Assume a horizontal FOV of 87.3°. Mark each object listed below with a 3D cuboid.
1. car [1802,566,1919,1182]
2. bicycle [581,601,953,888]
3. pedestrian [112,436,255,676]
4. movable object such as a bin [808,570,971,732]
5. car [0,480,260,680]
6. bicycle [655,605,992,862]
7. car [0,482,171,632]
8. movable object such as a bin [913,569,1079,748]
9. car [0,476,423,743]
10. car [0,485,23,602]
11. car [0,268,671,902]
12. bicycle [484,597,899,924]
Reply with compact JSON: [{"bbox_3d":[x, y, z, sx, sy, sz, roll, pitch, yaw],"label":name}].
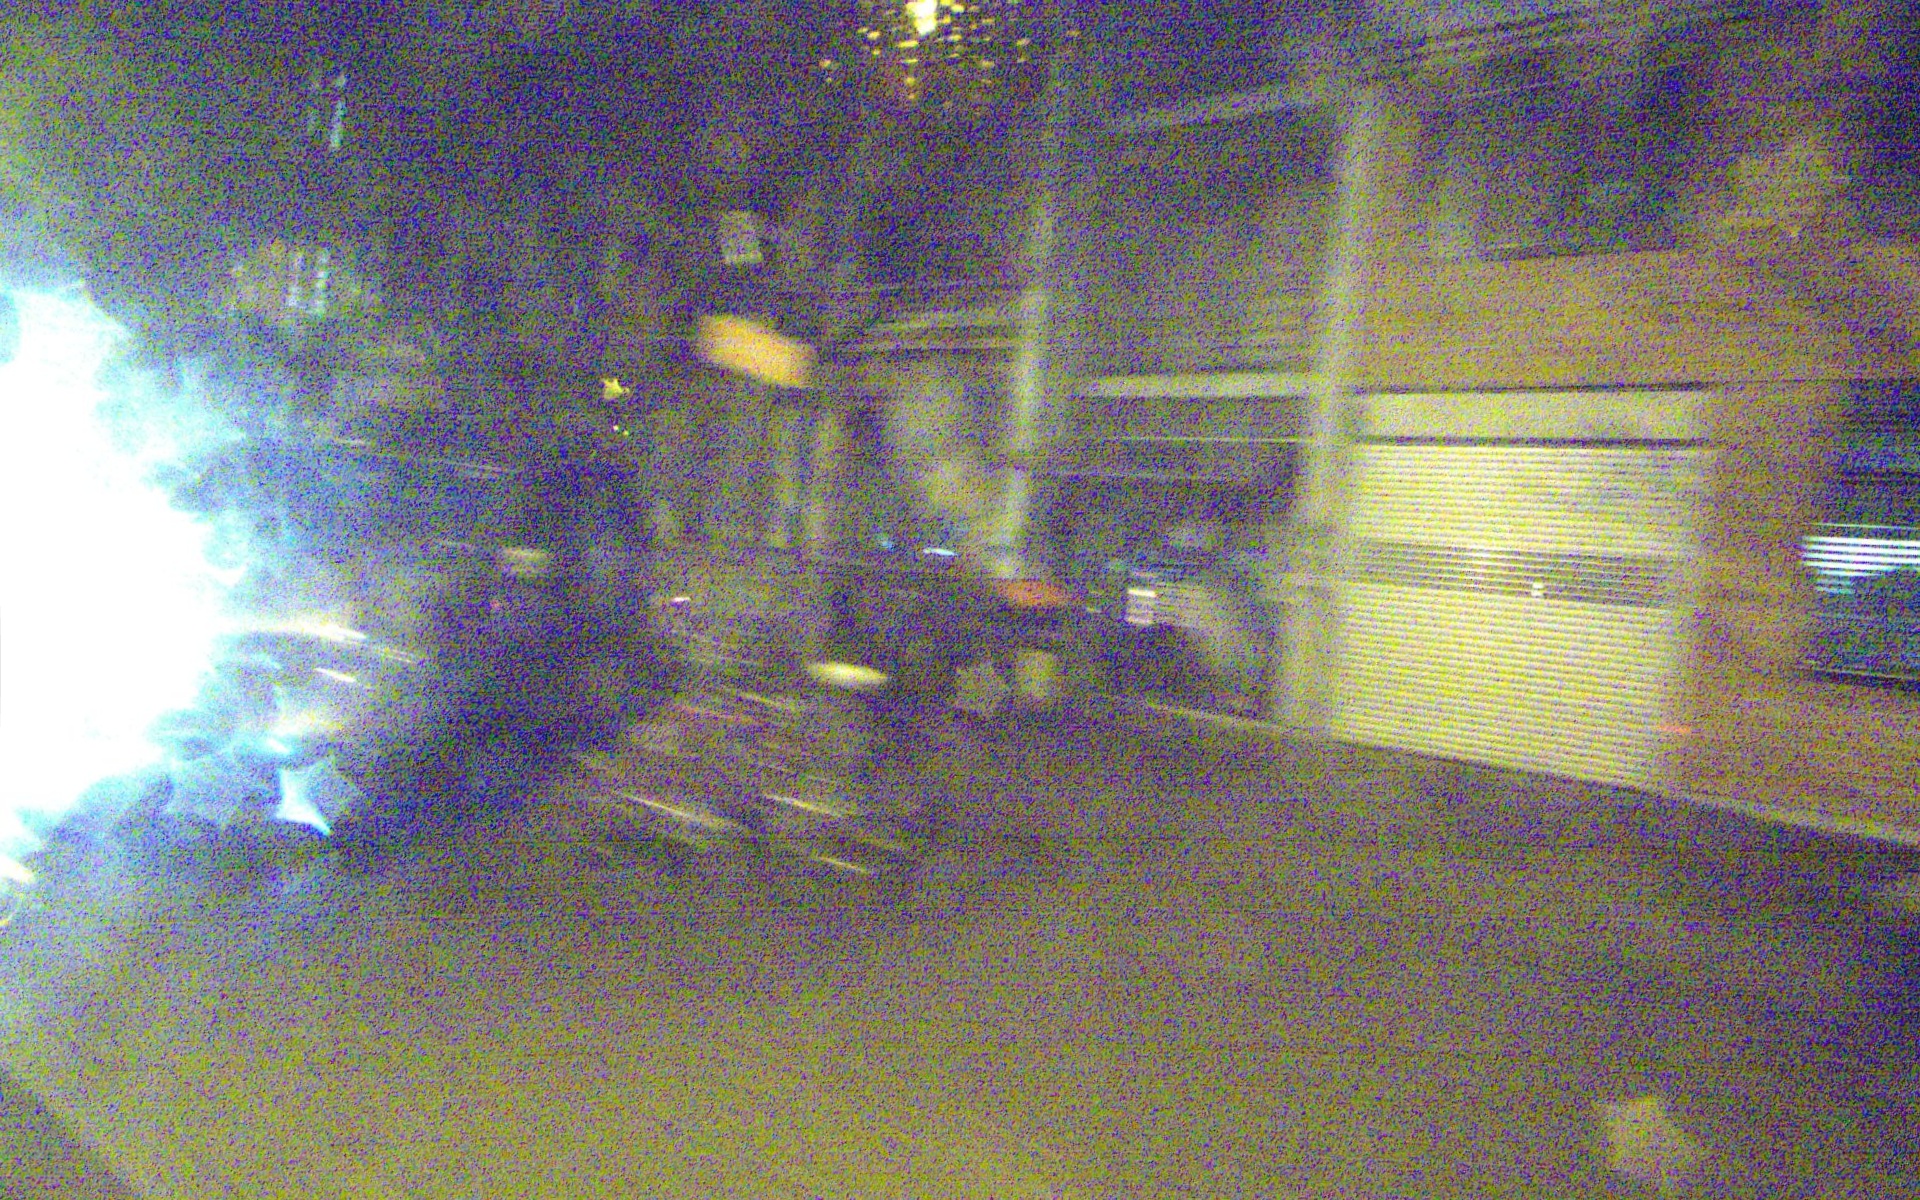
[{"bbox_3d":[3.957,0.967,1.368,1.685,1.883,4.241,5,2,-4],"label":"car"},{"bbox_3d":[-1.056,0.712,5.435,1.830,1.186,0.586,7,0,22],"label":"bicycle"},{"bbox_3d":[-7.039,-0.391,9.148,0.665,2.041,0.643,6,3,0],"label":"pedestrian"},{"bbox_3d":[-0.675,0.451,9.881,0.982,1.392,1.254,7,5,31],"label":"movable object such as a bin"},{"bbox_3d":[-8.209,-0.231,8.730,1.531,1.561,3.652,6,1,2],"label":"car"},{"bbox_3d":[-0.831,0.738,6.028,1.830,1.186,0.586,7,0,22],"label":"bicycle"},{"bbox_3d":[-11.066,-0.552,10.966,1.964,1.572,3.995,6,1,-6],"label":"car"},{"bbox_3d":[0.351,0.492,9.369,0.982,1.472,1.208,7,5,31],"label":"movable object such as a bin"},{"bbox_3d":[-5.858,0.016,7.899,1.549,1.561,3.397,6,1,-5],"label":"car"},{"bbox_3d":[-13.741,-0.827,11.816,1.772,1.572,3.996,6,0,-3],"label":"car"},{"bbox_3d":[-3.336,-0.080,6.181,1.912,2.277,4.720,6,1,-5],"label":"car"},{"bbox_3d":[-1.306,0.692,4.842,1.830,1.186,0.586,7,0,22],"label":"bicycle"}]
